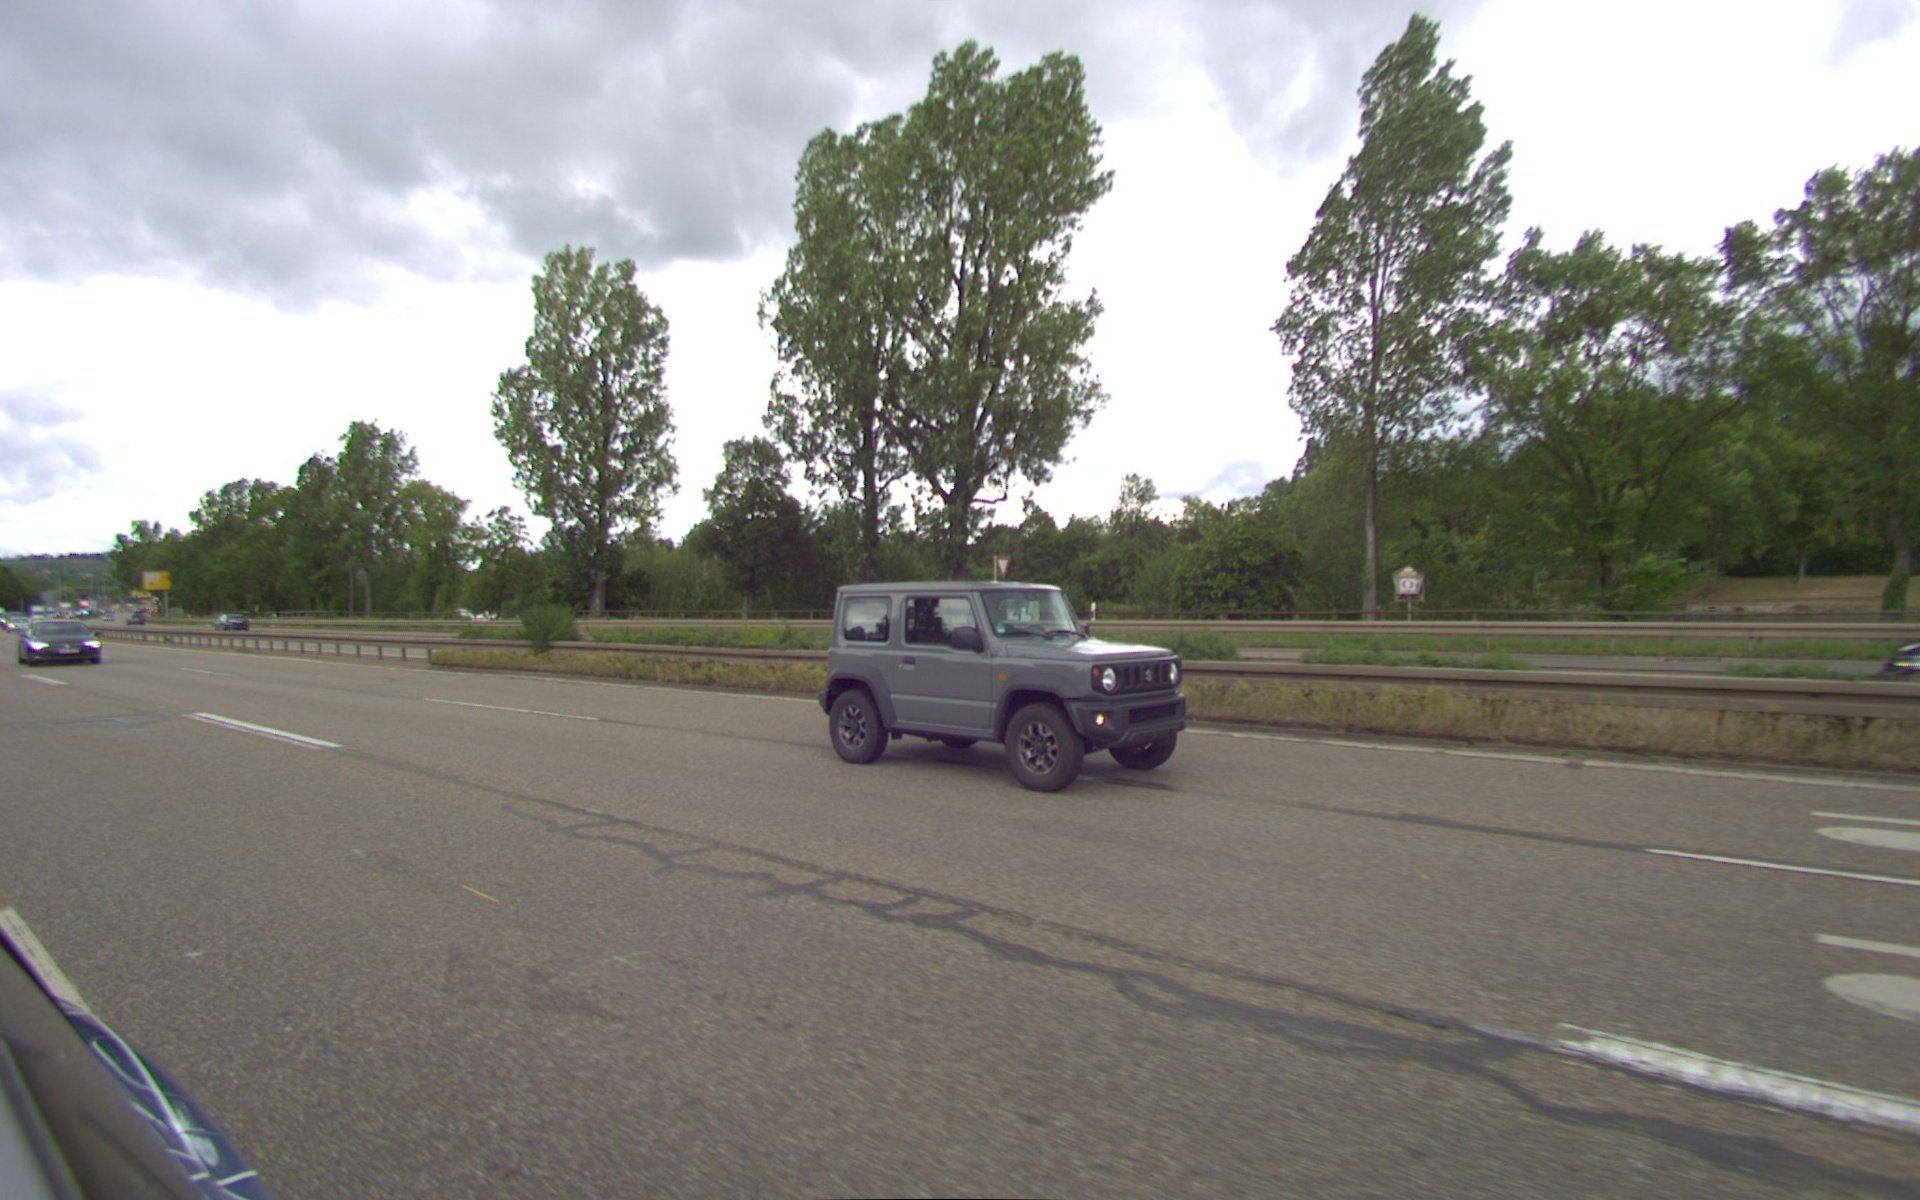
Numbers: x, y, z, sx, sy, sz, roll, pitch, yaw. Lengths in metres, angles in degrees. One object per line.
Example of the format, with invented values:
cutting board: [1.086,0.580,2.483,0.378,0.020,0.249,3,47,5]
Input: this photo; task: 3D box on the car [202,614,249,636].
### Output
car: [-60.170,2.037,82.921,4.645,1.621,1.974,-2,1,40]

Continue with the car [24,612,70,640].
car: [-62.359,1.766,69.128,3.998,1.878,1.854,-1,-1,41]

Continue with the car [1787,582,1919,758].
car: [11.437,0.669,9.598,5.520,1.743,1.827,-1,-1,40]

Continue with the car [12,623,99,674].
car: [-29.190,1.528,32.624,1.913,1.512,4.307,0,-2,-44]

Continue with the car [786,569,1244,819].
car: [0.310,0.692,9.100,3.999,1.749,1.662,-1,-1,44]

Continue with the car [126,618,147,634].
car: [-111.727,3.574,137.287,1.969,2.029,5.229,-3,0,-41]
